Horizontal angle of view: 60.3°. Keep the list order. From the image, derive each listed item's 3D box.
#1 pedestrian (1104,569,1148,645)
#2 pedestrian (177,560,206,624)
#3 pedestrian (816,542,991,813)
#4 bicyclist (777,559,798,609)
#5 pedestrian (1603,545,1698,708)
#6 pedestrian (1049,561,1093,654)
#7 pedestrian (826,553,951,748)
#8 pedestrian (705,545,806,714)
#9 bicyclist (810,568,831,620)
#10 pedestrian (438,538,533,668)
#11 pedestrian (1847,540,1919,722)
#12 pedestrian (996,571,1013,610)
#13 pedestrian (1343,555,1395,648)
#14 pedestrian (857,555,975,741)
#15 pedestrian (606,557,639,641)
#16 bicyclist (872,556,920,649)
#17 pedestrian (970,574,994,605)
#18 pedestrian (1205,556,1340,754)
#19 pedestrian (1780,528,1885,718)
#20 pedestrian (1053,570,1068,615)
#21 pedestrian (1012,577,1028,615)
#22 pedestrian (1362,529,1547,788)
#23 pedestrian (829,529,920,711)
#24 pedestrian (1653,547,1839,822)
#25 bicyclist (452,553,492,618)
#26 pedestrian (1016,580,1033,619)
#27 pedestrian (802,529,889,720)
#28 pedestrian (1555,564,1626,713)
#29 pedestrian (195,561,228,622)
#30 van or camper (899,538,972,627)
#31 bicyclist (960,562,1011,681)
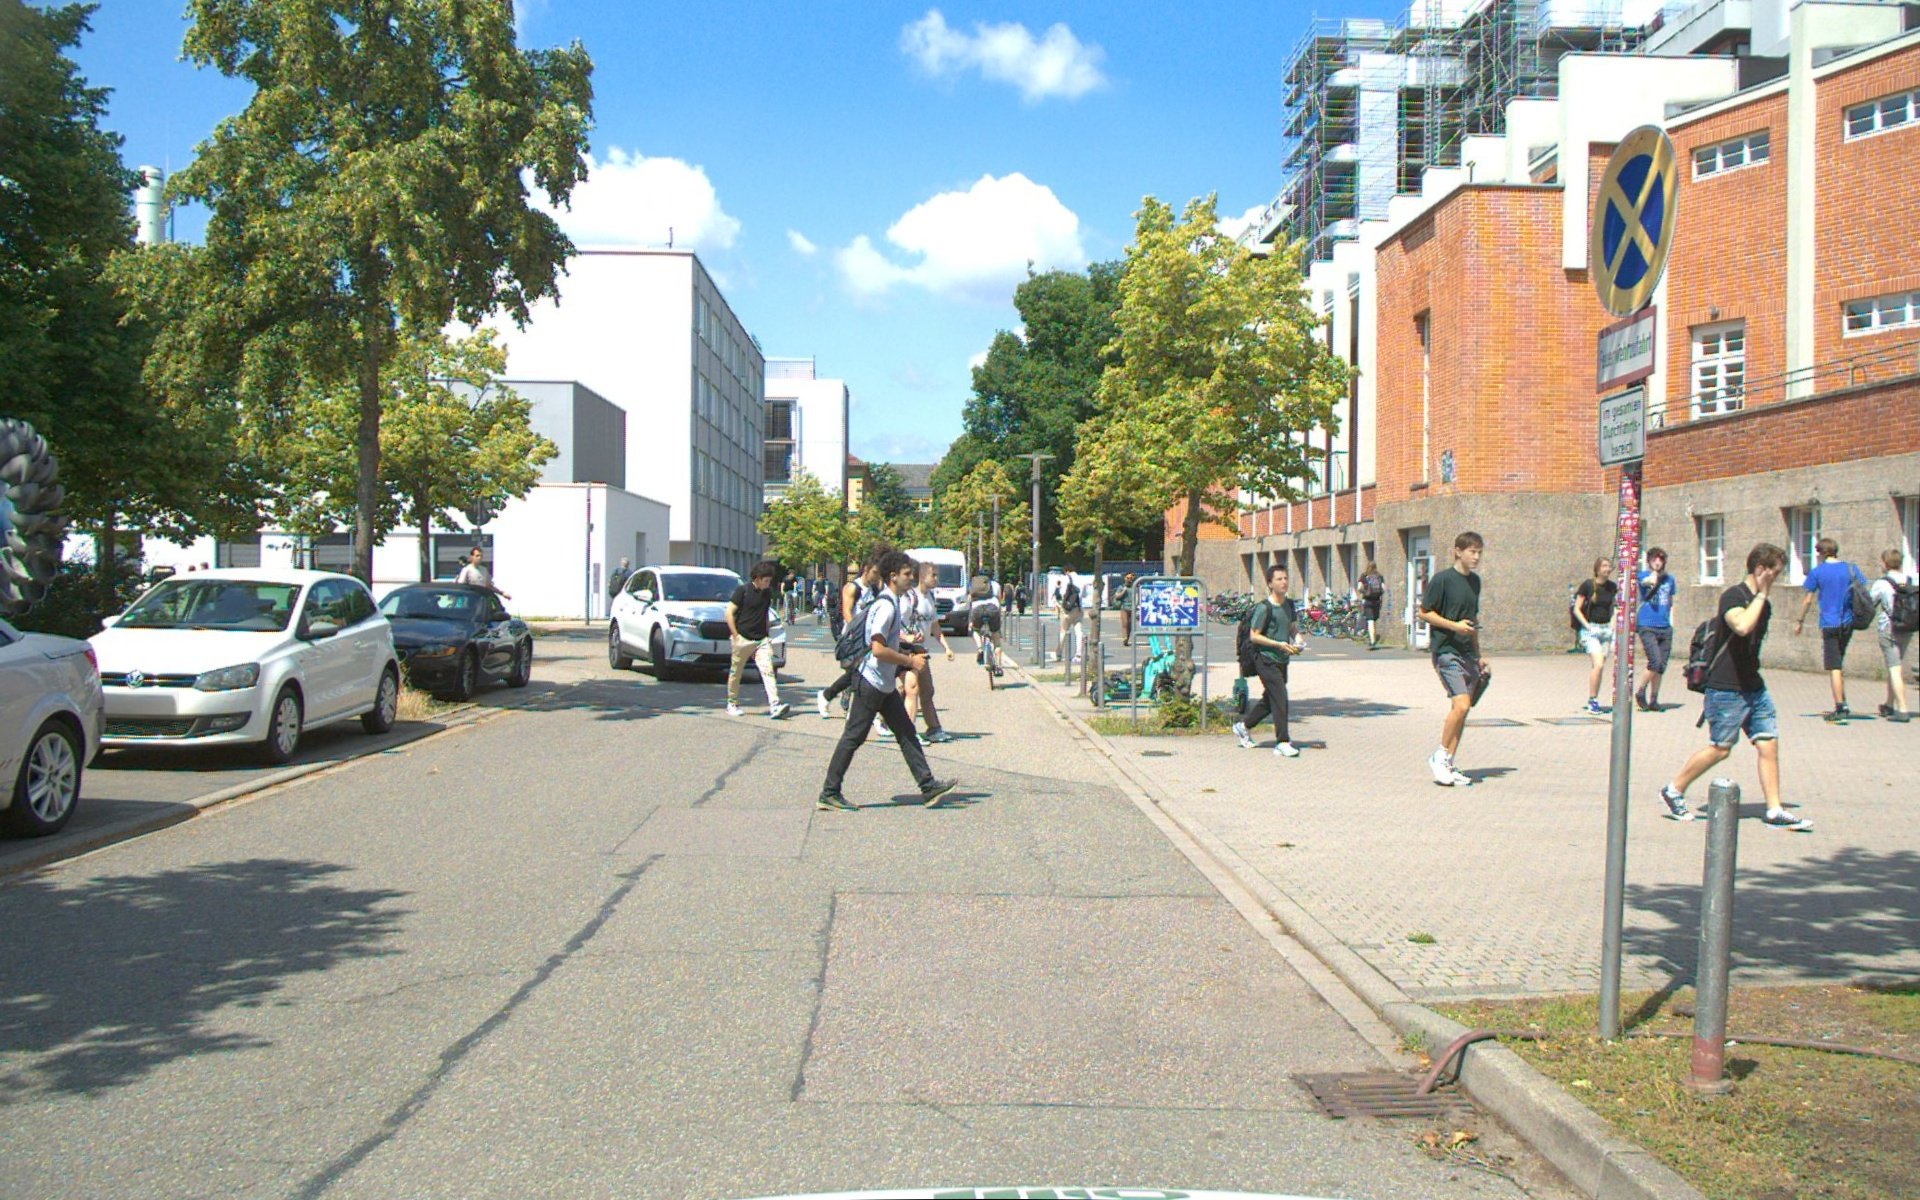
[{"bbox_3d":[3.946,0.154,39.389,0.836,1.763,1.159,0,1,-5],"label":"pedestrian"},{"bbox_3d":[-22.047,-0.226,47.439,0.540,1.795,0.586,1,0,-1],"label":"pedestrian"},{"bbox_3d":[-0.395,0.504,11.157,1.084,1.746,0.709,2,1,-6],"label":"pedestrian"},{"bbox_3d":[-5.649,-0.519,54.233,0.630,1.629,0.908,-1,1,-3],"label":"bicyclist"},{"bbox_3d":[7.902,0.287,18.945,0.695,1.819,0.751,-1,0,-11],"label":"pedestrian"},{"bbox_3d":[2.128,0.133,31.789,0.688,1.724,0.962,-2,1,-1],"label":"pedestrian"},{"bbox_3d":[-0.675,0.451,15.639,0.964,1.769,0.698,0,1,36],"label":"pedestrian"},{"bbox_3d":[-2.248,0.304,18.216,0.784,1.803,0.855,1,1,20],"label":"pedestrian"},{"bbox_3d":[-4.707,-0.203,56.003,0.654,1.711,0.992,-1,0,-3],"label":"bicyclist"},{"bbox_3d":[-7.316,0.044,25.477,1.007,1.937,1.163,2,-1,-38],"label":"pedestrian"},{"bbox_3d":[9.806,0.299,17.201,0.686,1.834,0.995,-1,1,7],"label":"pedestrian"},{"bbox_3d":[2.166,-0.461,80.436,0.774,1.892,1.243,0,1,0],"label":"pedestrian"},{"bbox_3d":[8.498,0.021,34.427,0.774,1.892,1.116,0,0,-3],"label":"pedestrian"},{"bbox_3d":[-0.432,0.456,16.302,0.891,1.769,0.675,1,-1,37],"label":"pedestrian"},{"bbox_3d":[-7.455,-0.023,36.555,0.655,1.816,0.981,1,-1,-14],"label":"pedestrian"},{"bbox_3d":[-1.307,0.038,33.447,0.756,1.786,0.847,-5,1,-8],"label":"bicyclist"},{"bbox_3d":[1.524,-0.712,114.764,1.470,2.030,1.645,-3,1,-3],"label":"pedestrian"},{"bbox_3d":[2.880,0.482,15.275,0.698,1.749,0.977,-2,2,-45],"label":"pedestrian"},{"bbox_3d":[9.107,0.219,17.302,0.686,1.924,0.995,-1,2,9],"label":"pedestrian"},{"bbox_3d":[4.260,-0.316,70.241,0.564,1.892,0.569,0,0,-4],"label":"pedestrian"},{"bbox_3d":[3.007,-0.195,83.128,0.774,1.892,1.026,0,0,0],"label":"pedestrian"},{"bbox_3d":[3.811,0.416,12.791,0.844,1.892,1.103,0,1,-34],"label":"pedestrian"},{"bbox_3d":[-0.973,0.211,18.828,0.809,2.014,0.692,1,1,20],"label":"pedestrian"},{"bbox_3d":[4.924,0.489,10.359,0.844,1.623,0.817,-2,1,-45],"label":"pedestrian"},{"bbox_3d":[-13.628,-0.392,46.179,0.679,1.787,0.807,1,0,40],"label":"bicyclist"},{"bbox_3d":[3.103,-0.020,80.144,0.774,1.892,1.026,0,0,0],"label":"pedestrian"},{"bbox_3d":[-1.249,0.260,18.000,0.610,2.015,0.819,0,-1,-33],"label":"pedestrian"},{"bbox_3d":[7.144,0.433,18.762,0.492,1.659,0.570,-1,-2,-10],"label":"pedestrian"},{"bbox_3d":[-21.937,-0.247,48.485,0.679,1.779,0.636,1,0,-1],"label":"pedestrian"},{"bbox_3d":[-0.673,-0.482,48.659,1.952,2.488,4.570,0,0,1],"label":"van or camper"},{"bbox_3d":[0.378,0.299,24.149,0.702,1.691,1.095,-1,0,1],"label":"bicyclist"}]
